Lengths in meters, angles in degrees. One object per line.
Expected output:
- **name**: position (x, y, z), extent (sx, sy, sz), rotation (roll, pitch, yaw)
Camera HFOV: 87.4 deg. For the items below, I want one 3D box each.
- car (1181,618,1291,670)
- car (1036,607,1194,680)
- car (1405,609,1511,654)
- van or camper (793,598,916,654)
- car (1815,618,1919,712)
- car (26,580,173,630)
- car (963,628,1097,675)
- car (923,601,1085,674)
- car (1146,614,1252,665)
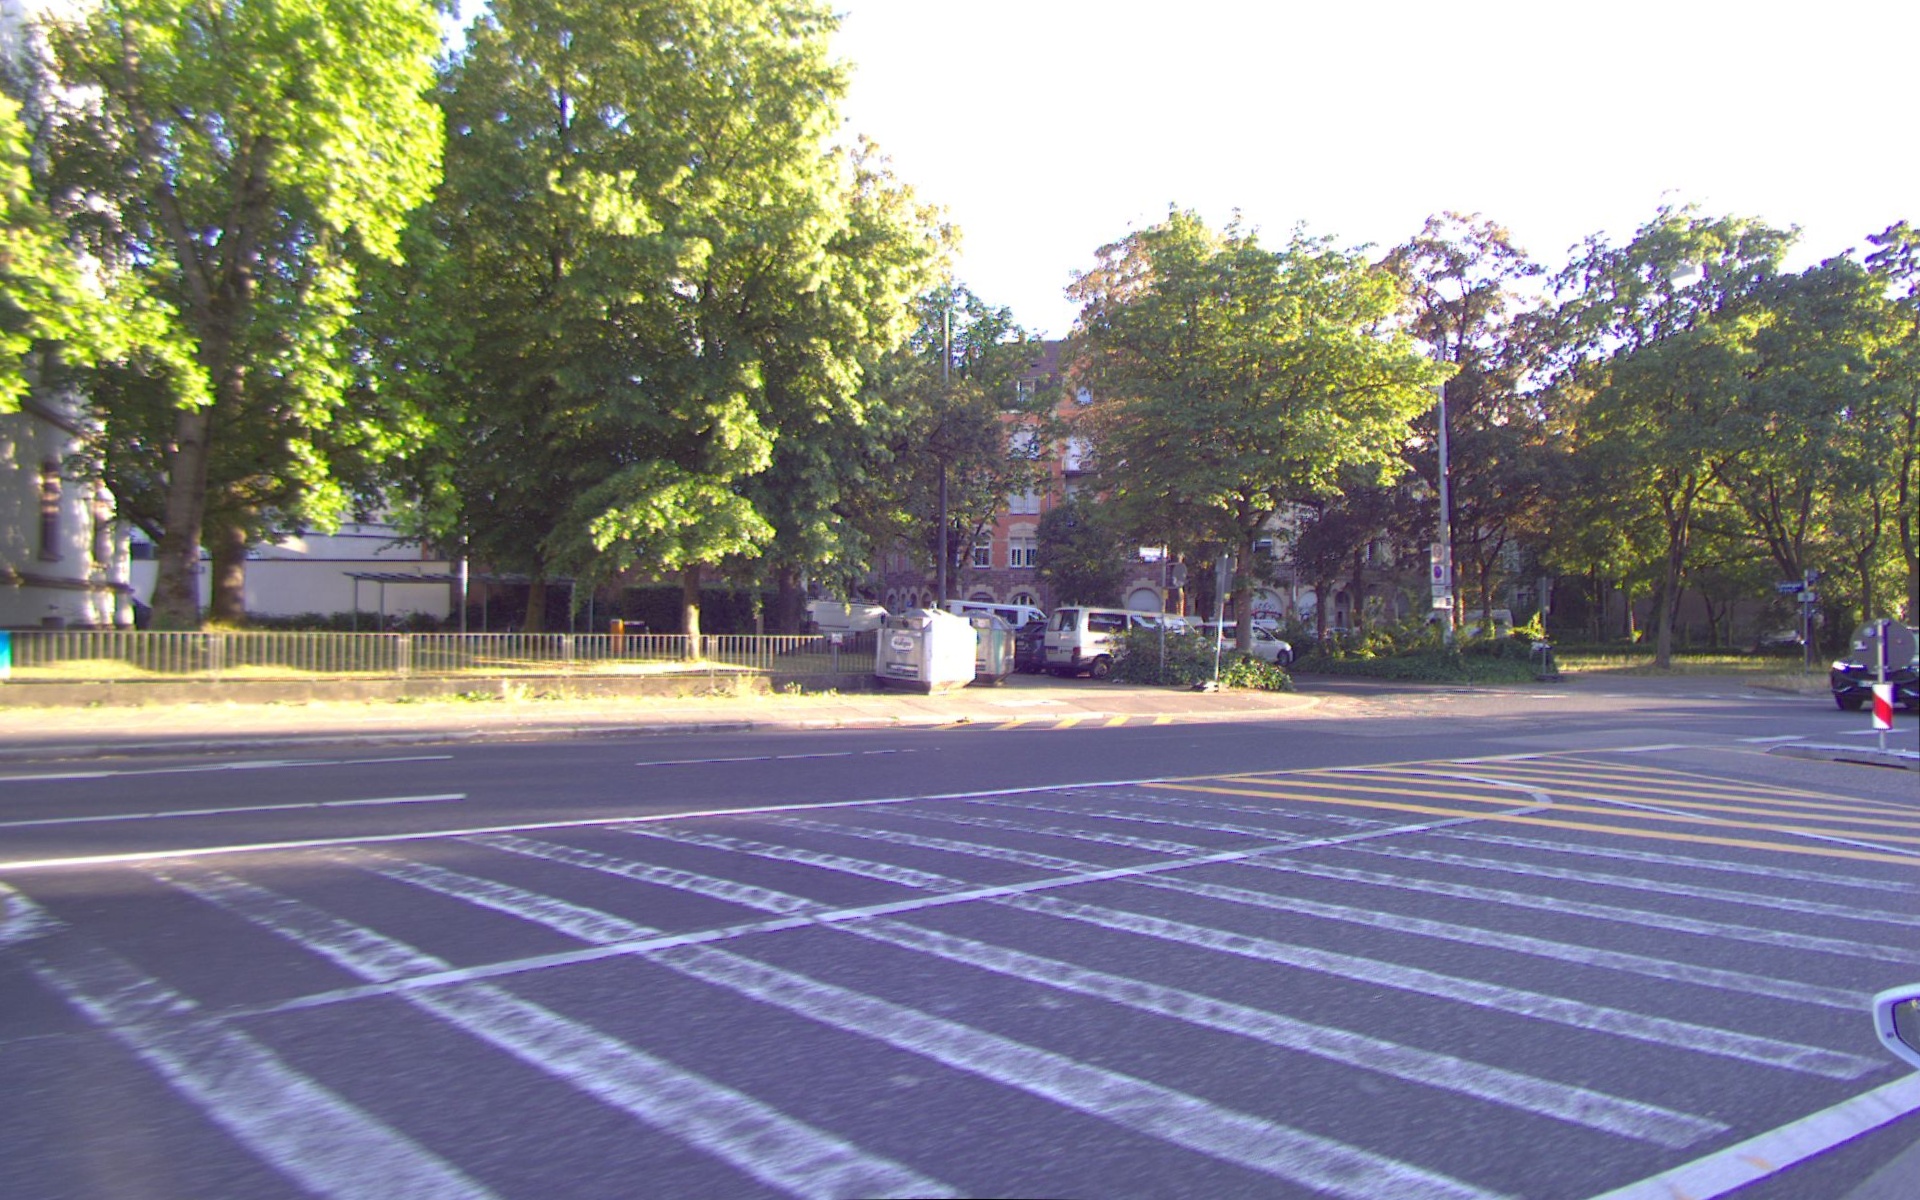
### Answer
- **car**: position (10.935, 1.725, 39.748), extent (3.954, 1.907, 1.983), rotation (2, 1, -31)
- **car**: position (4.198, 1.143, 27.127), extent (3.954, 1.819, 1.809), rotation (2, 0, -31)
- **car**: position (29.221, 1.833, 59.059), extent (5.128, 2.518, 2.275), rotation (1, -1, 8)
- **van or camper**: position (-4.951, 1.248, 47.301), extent (5.360, 2.504, 2.057), rotation (2, 0, -28)
- **car**: position (19.322, 1.293, 19.977), extent (4.507, 1.728, 1.871), rotation (2, -4, -26)
- **car**: position (-34.021, 0.236, 39.875), extent (1.922, 1.852, 4.117), rotation (1, -1, 9)
- **car**: position (2.225, 1.609, 31.655), extent (3.954, 1.350, 1.724), rotation (2, 0, -31)
- **car**: position (1.507, 1.271, 34.133), extent (5.027, 2.319, 2.209), rotation (2, 0, -24)
- **car**: position (11.215, 1.856, 47.058), extent (4.685, 2.218, 1.984), rotation (2, 1, -30)
